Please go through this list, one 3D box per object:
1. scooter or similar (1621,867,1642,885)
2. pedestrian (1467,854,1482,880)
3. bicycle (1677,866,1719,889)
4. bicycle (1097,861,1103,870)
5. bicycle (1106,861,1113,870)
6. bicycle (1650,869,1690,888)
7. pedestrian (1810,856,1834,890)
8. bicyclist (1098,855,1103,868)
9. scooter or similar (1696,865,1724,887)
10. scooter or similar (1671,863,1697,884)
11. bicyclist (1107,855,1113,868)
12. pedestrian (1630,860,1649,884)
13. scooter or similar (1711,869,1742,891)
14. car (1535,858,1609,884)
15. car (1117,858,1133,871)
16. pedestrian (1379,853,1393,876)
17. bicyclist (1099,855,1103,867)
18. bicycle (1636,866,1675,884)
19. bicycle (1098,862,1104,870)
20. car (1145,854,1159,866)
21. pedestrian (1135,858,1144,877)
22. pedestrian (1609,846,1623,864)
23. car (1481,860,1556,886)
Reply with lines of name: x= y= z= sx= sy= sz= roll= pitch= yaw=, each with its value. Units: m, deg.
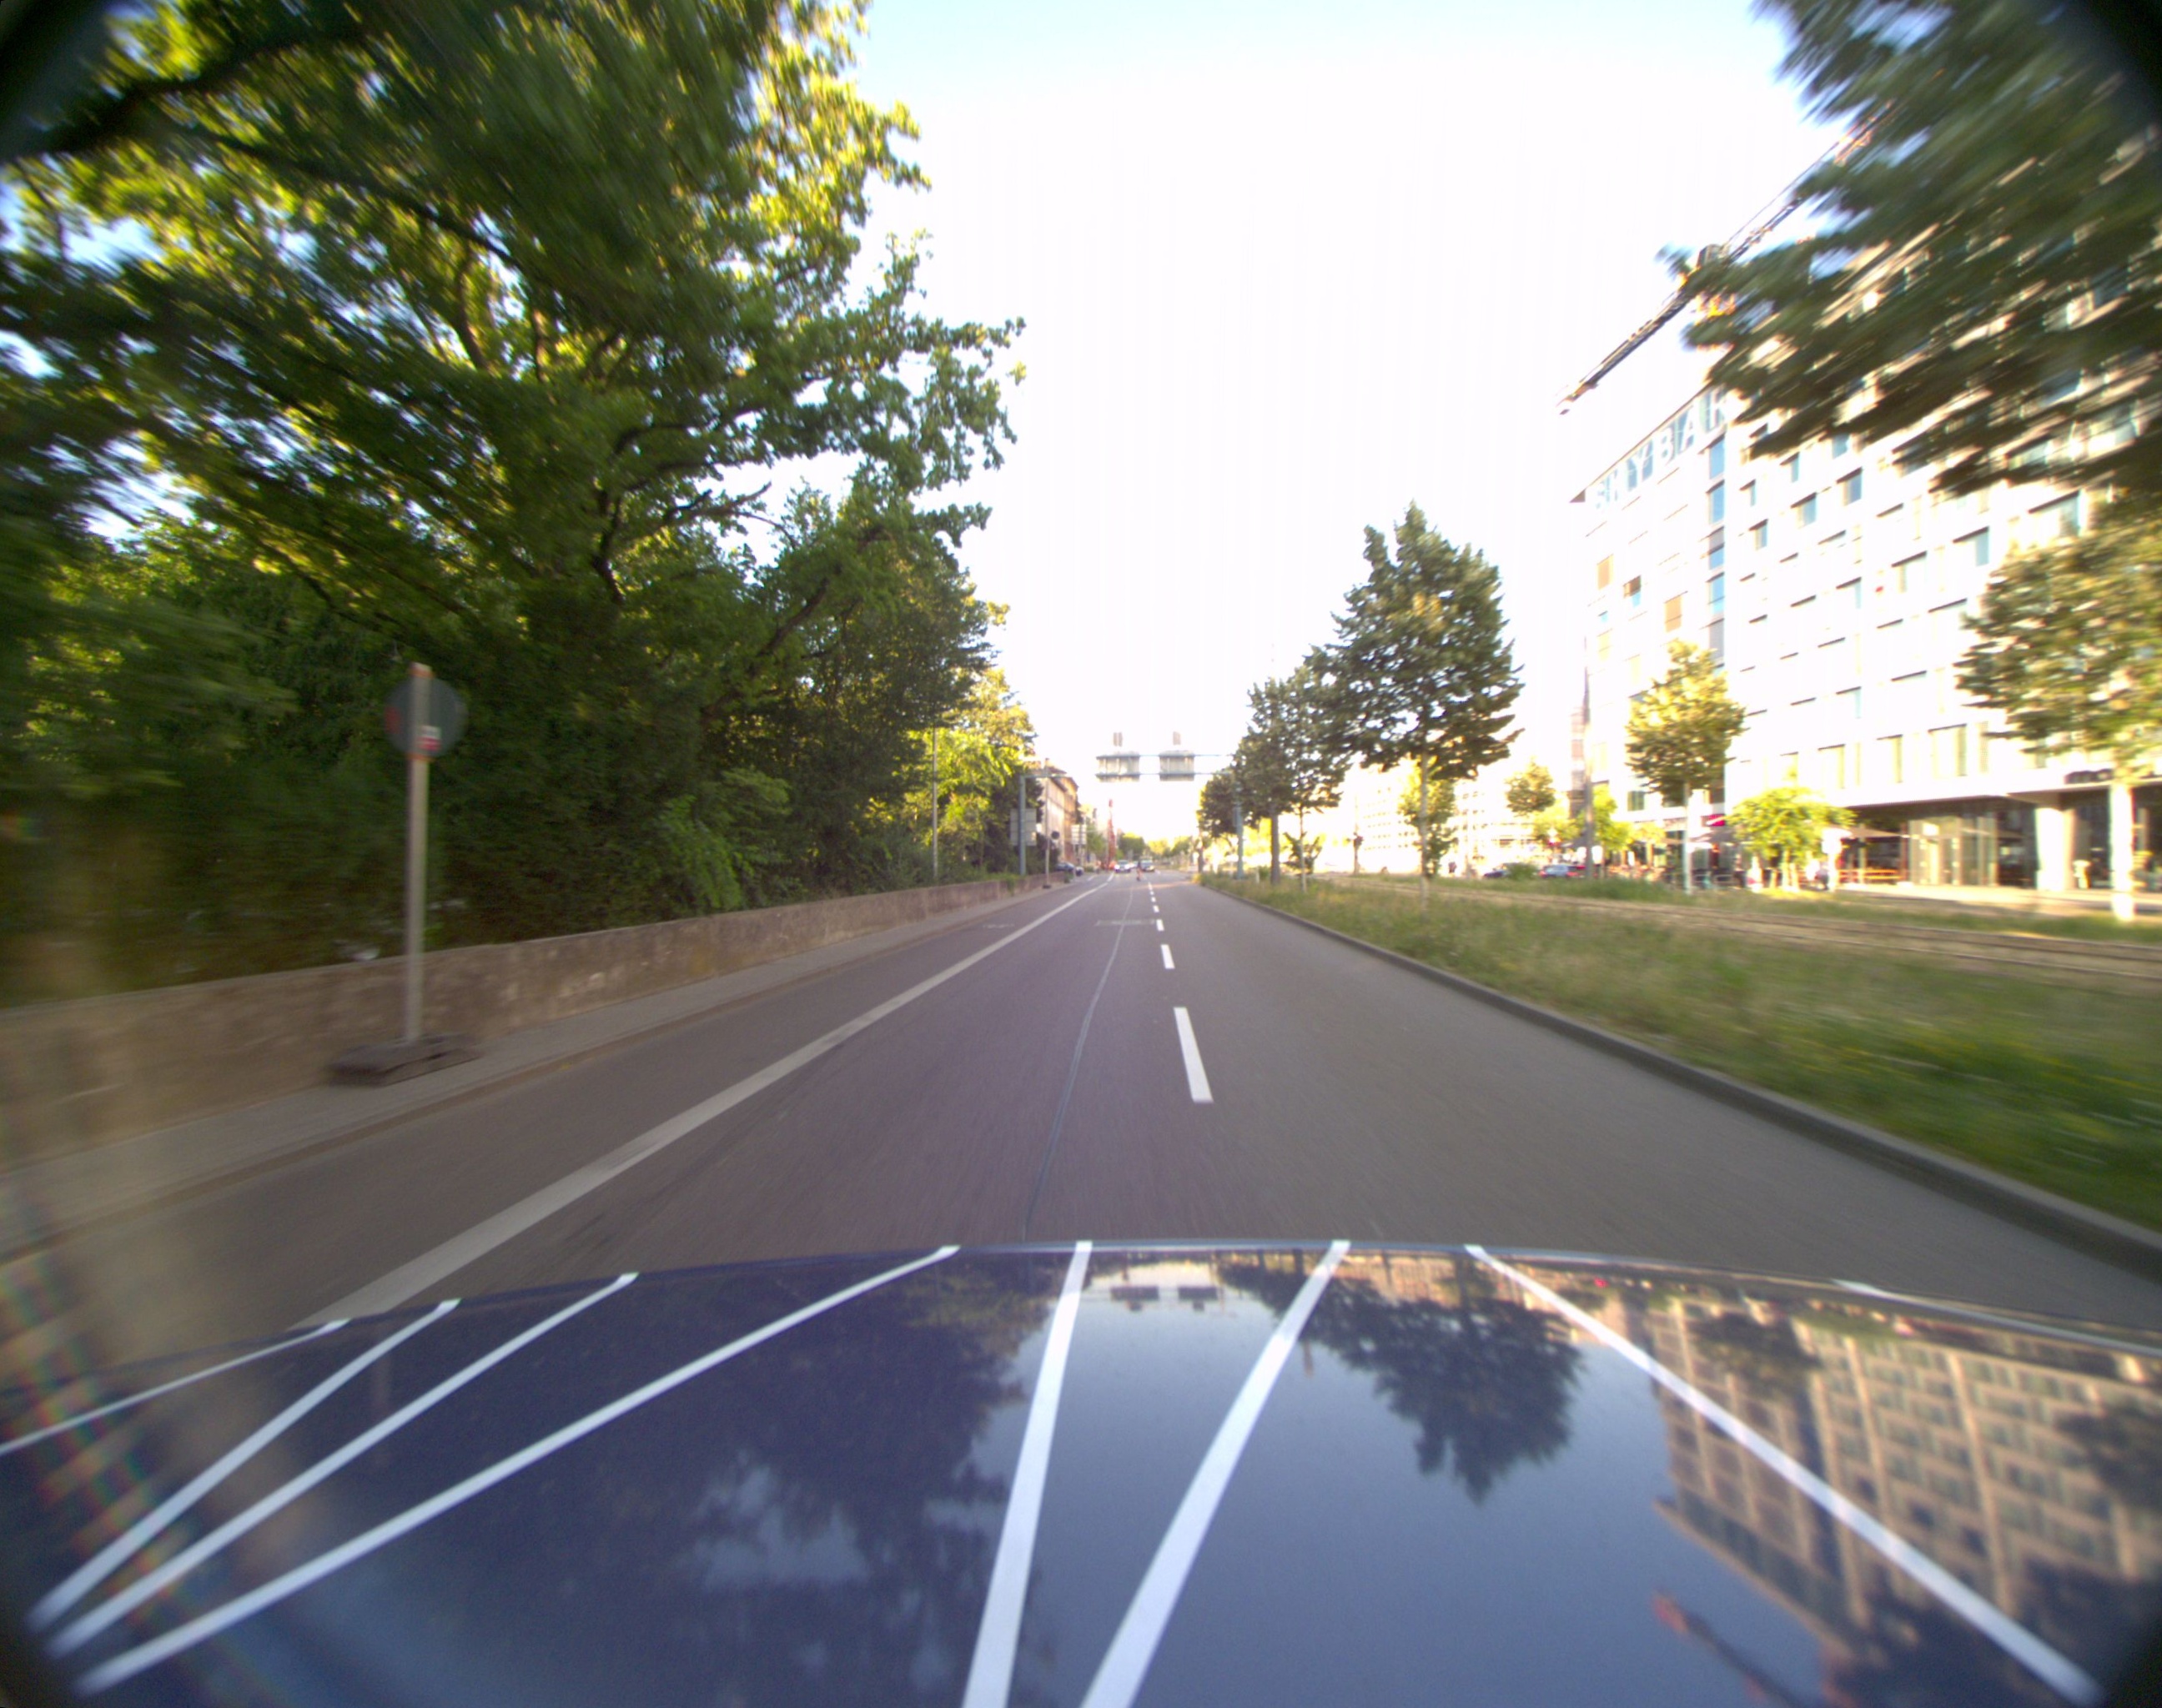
scooter or similar: x=34.613 y=1.389 z=47.775 sx=0.974 sy=1.079 sz=0.338 roll=-3 pitch=3 yaw=6
pedestrian: x=29.349 y=0.943 z=56.690 sx=0.680 sy=1.912 sz=0.709 roll=-3 pitch=0 yaw=6
bicycle: x=33.988 y=1.284 z=41.851 sx=1.913 sy=1.192 sz=0.443 roll=-2 pitch=0 yaw=2
bicycle: x=2.490 y=1.461 z=98.434 sx=0.528 sy=1.045 sz=2.049 roll=2 pitch=1 yaw=8
bicycle: x=3.740 y=1.452 z=98.422 sx=0.720 sy=1.045 sz=2.044 roll=-2 pitch=1 yaw=6
bicycle: x=33.983 y=1.423 z=43.840 sx=1.913 sy=1.053 sz=0.443 roll=-2 pitch=0 yaw=2
pedestrian: x=35.599 y=0.918 z=36.514 sx=0.498 sy=1.590 sz=0.604 roll=-3 pitch=0 yaw=6
bicyclist: x=2.518 y=0.967 z=98.544 sx=0.509 sy=1.691 sz=0.768 roll=2 pitch=2 yaw=8
scooter or similar: x=33.762 y=1.181 z=40.776 sx=1.184 sy=1.157 sz=0.338 roll=0 pitch=0 yaw=6
scooter or similar: x=33.877 y=1.091 z=42.690 sx=1.184 sy=1.210 sz=0.338 roll=0 pitch=0 yaw=6
bicyclist: x=3.739 y=0.963 z=98.511 sx=0.705 sy=1.691 sz=0.768 roll=-2 pitch=1 yaw=5
pedestrian: x=37.256 y=1.199 z=50.716 sx=0.681 sy=1.594 sz=0.708 roll=-3 pitch=0 yaw=-16
scooter or similar: x=33.409 y=1.332 z=39.332 sx=1.184 sy=1.051 sz=0.338 roll=-5 pitch=-2 yaw=5
car: x=28.984 y=0.977 z=45.016 sx=1.889 sy=1.431 sz=4.225 roll=0 pitch=0 yaw=4
car: x=5.802 y=1.377 z=100.557 sx=1.832 sy=1.588 sz=4.262 roll=-1 pitch=0 yaw=6
pedestrian: x=23.979 y=0.807 z=59.744 sx=0.708 sy=1.825 sz=0.763 roll=-2 pitch=0 yaw=4
bicyclist: x=2.658 y=0.911 z=100.659 sx=0.512 sy=1.539 sz=0.693 roll=1 pitch=0 yaw=8
bicycle: x=34.181 y=1.245 z=45.201 sx=1.913 sy=1.053 sz=0.443 roll=-2 pitch=0 yaw=2
bicycle: x=2.668 y=1.527 z=100.844 sx=0.517 sy=1.045 sz=2.045 roll=1 pitch=0 yaw=8
car: x=9.374 y=0.804 z=100.111 sx=1.701 sy=1.588 sz=4.262 roll=-1 pitch=0 yaw=6
pedestrian: x=4.634 y=1.096 z=60.542 sx=0.579 sy=1.495 sz=0.619 roll=-1 pitch=0 yaw=13
pedestrian: x=43.276 y=0.086 z=61.440 sx=0.605 sy=1.454 sz=0.773 roll=0 pitch=0 yaw=5
car: x=26.041 y=1.078 z=45.450 sx=2.019 sy=1.432 sz=4.803 roll=1 pitch=0 yaw=5
